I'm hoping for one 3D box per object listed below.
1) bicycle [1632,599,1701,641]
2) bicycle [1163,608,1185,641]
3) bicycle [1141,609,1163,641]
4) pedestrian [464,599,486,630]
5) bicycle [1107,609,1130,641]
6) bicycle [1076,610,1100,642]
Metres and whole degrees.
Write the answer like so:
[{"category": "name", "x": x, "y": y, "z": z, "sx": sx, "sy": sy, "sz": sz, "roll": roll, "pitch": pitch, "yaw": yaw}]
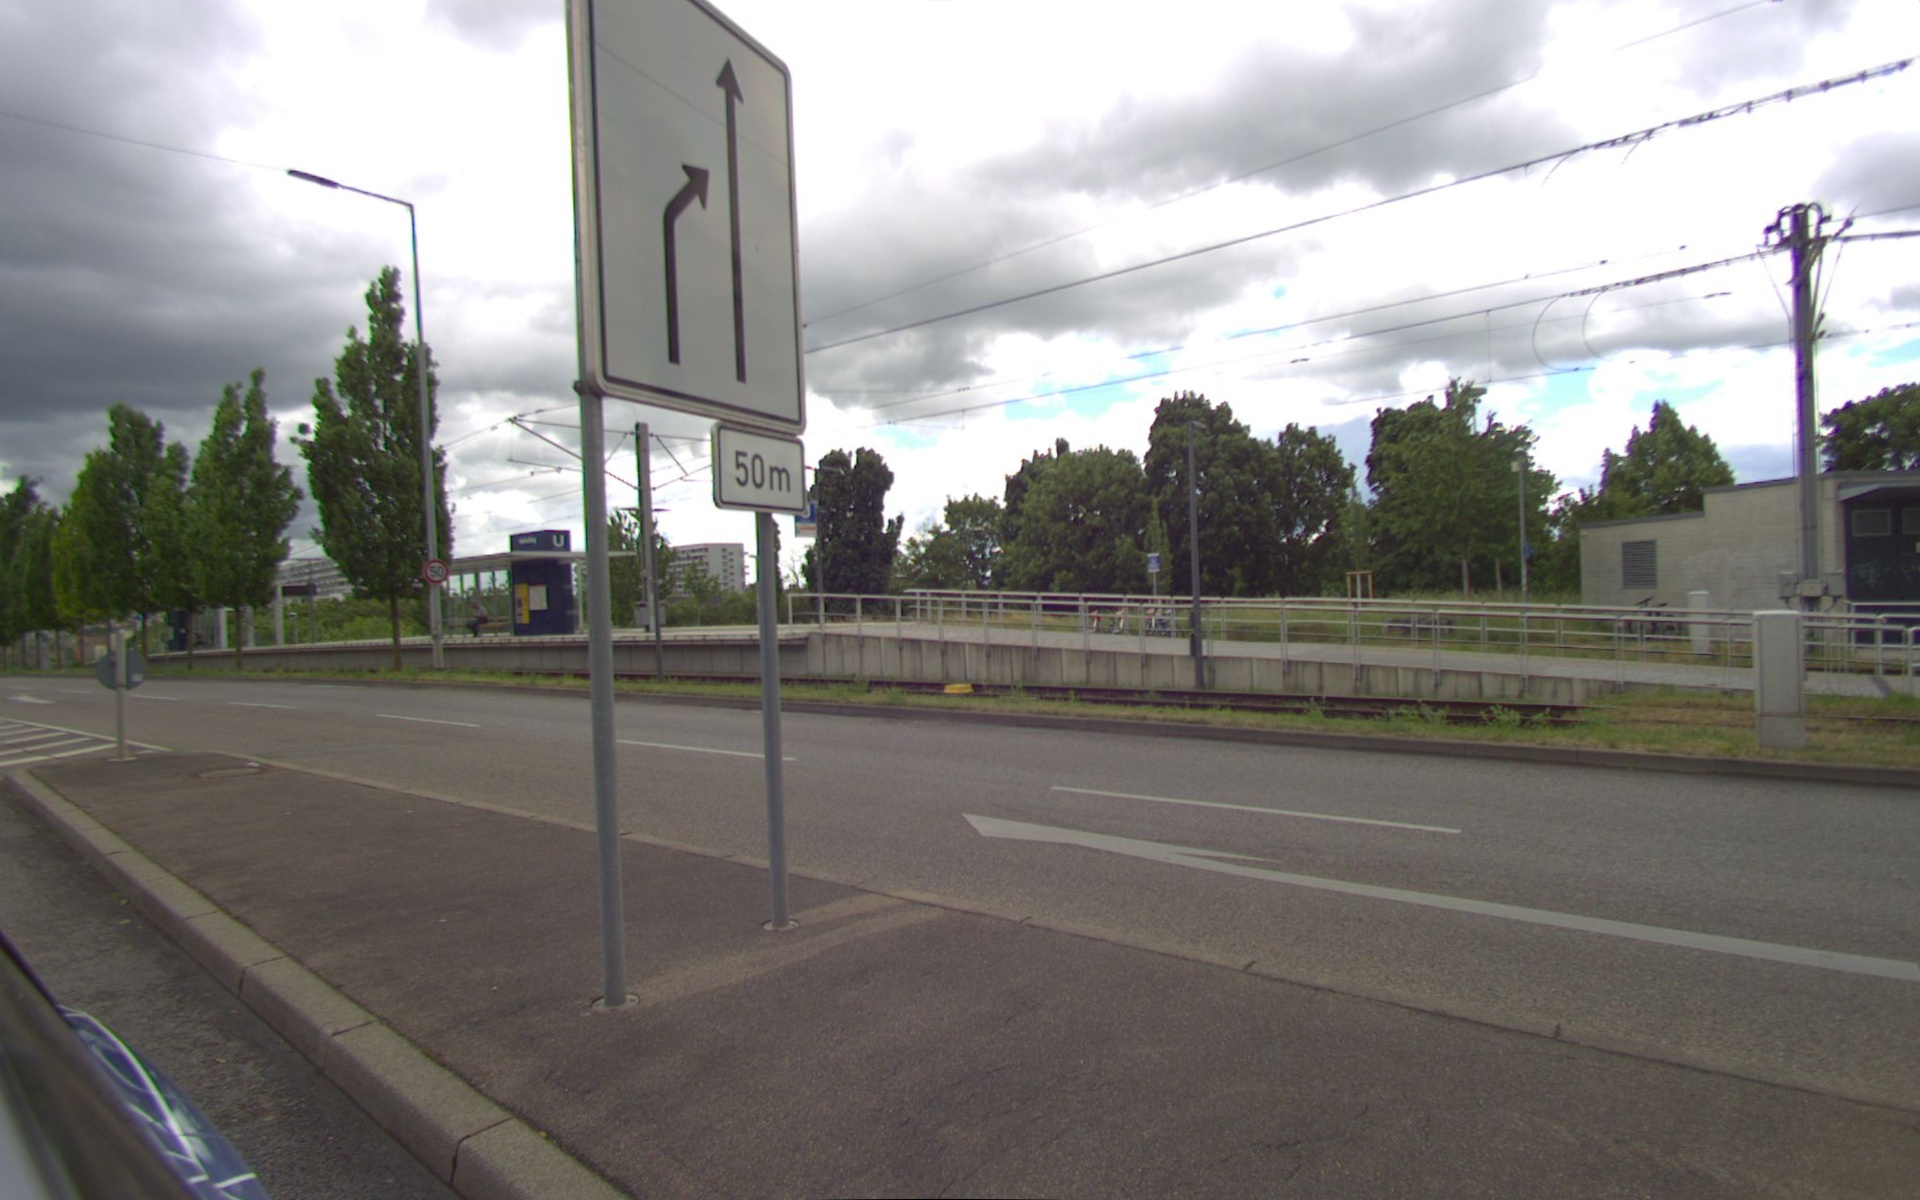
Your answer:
[{"category": "bicycle", "x": 18.187, "y": 0.507, "z": 26.102, "sx": 0.529, "sy": 1.039, "sz": 1.813, "roll": -1, "pitch": 0, "yaw": 1}, {"category": "bicycle", "x": 7.124, "y": 0.801, "z": 33.669, "sx": 0.531, "sy": 1.039, "sz": 1.804, "roll": -1, "pitch": 0, "yaw": 16}, {"category": "bicycle", "x": 6.449, "y": 0.820, "z": 33.990, "sx": 0.531, "sy": 1.039, "sz": 1.804, "roll": -1, "pitch": 0, "yaw": 16}, {"category": "pedestrian", "x": -18.188, "y": 0.530, "z": 37.950, "sx": 0.447, "sy": 1.163, "sz": 0.593, "roll": -1, "pitch": 0, "yaw": 41}, {"category": "bicycle", "x": 5.393, "y": 0.849, "z": 34.443, "sx": 0.531, "sy": 1.039, "sz": 1.804, "roll": -1, "pitch": 0, "yaw": 16}, {"category": "bicycle", "x": 4.413, "y": 0.886, "z": 34.807, "sx": 0.531, "sy": 1.039, "sz": 1.804, "roll": -1, "pitch": 0, "yaw": 16}]
